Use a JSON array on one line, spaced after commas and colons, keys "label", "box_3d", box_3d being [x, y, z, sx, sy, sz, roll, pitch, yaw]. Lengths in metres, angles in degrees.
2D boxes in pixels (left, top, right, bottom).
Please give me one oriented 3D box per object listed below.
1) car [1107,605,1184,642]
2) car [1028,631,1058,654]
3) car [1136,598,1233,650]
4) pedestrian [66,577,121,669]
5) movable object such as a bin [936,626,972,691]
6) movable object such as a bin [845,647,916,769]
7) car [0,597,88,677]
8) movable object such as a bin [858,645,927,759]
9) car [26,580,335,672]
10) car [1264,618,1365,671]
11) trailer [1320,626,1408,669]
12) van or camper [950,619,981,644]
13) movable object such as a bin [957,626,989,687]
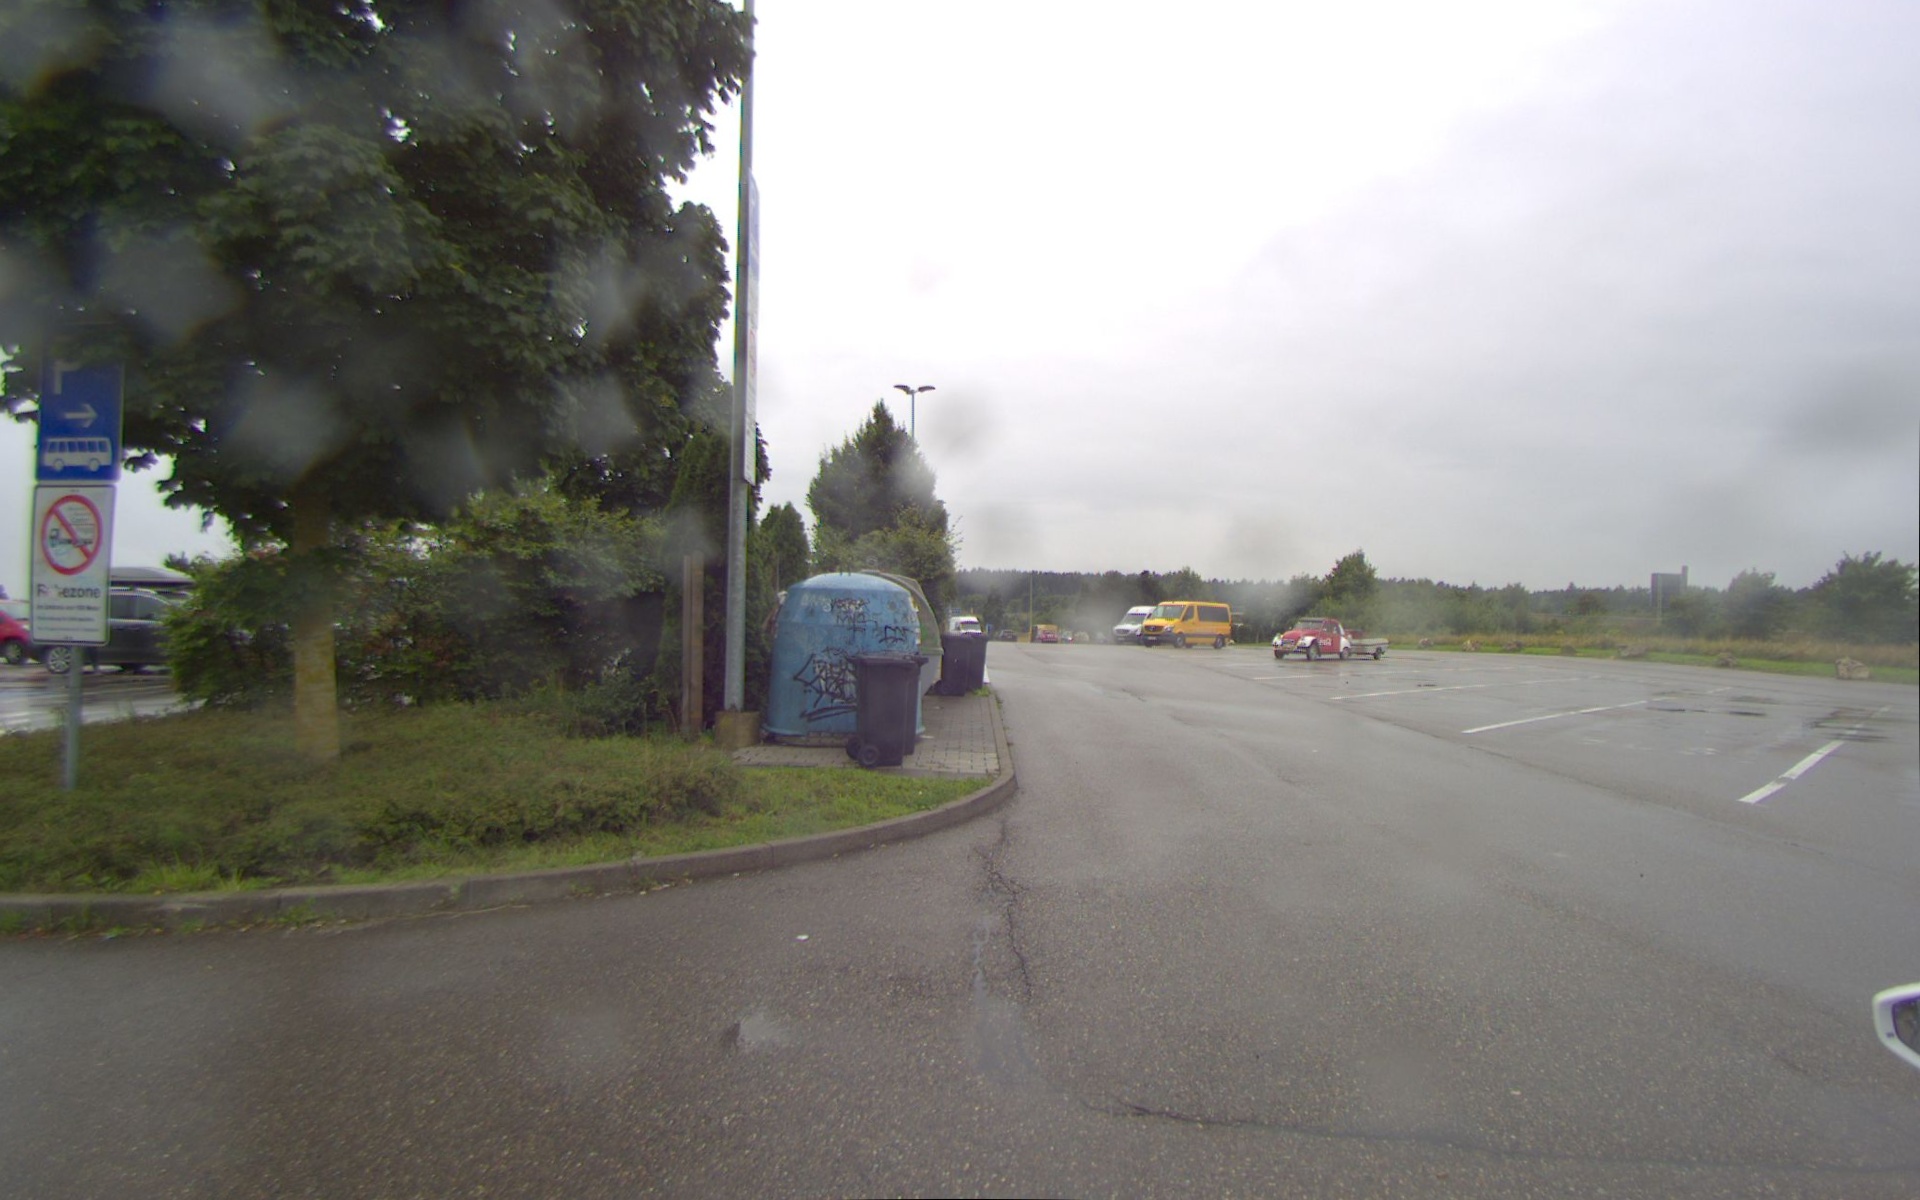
[{"label": "car", "box_3d": [12.091, 1.551, 65.401, 4.716, 2.231, 1.985, 2, 0, -29]}, {"label": "car", "box_3d": [7.739, 3.930, 93.569, 1.658, 2.040, 3.991, 1, -2, -13]}, {"label": "car", "box_3d": [11.267, 1.251, 50.115, 1.973, 2.411, 5.990, -2, -4, 44]}, {"label": "pedestrian", "box_3d": [-16.728, 0.450, 19.398, 0.672, 1.747, 0.609, -1, -3, 36]}, {"label": "movable object such as a bin", "box_3d": [-0.090, 0.876, 15.104, 0.498, 0.935, 0.439, 1, 1, 4]}, {"label": "movable object such as a bin", "box_3d": [-0.672, 0.896, 8.445, 0.466, 0.961, 0.433, 2, 1, -22]}, {"label": "car", "box_3d": [-23.492, 0.848, 23.859, 3.944, 1.816, 1.851, 0, 0, 0]}, {"label": "movable object such as a bin", "box_3d": [-0.607, 0.900, 9.045, 0.400, 0.961, 0.448, 3, 1, 44]}, {"label": "car", "box_3d": [-16.094, 0.516, 20.940, 4.853, 1.816, 2.000, 0, 0, 0]}, {"label": "car", "box_3d": [12.889, 1.596, 36.418, 3.972, 1.800, 1.805, 3, -2, -43]}, {"label": "trailer", "box_3d": [15.791, 1.831, 39.149, 3.972, 1.553, 1.679, 2, -2, -43]}, {"label": "van or camper", "box_3d": [0.486, 2.885, 91.780, 1.966, 2.195, 3.991, 2, -2, -13]}, {"label": "movable object such as a bin", "box_3d": [0.209, 0.880, 15.850, 0.498, 0.928, 0.439, 1, 1, 2]}]
